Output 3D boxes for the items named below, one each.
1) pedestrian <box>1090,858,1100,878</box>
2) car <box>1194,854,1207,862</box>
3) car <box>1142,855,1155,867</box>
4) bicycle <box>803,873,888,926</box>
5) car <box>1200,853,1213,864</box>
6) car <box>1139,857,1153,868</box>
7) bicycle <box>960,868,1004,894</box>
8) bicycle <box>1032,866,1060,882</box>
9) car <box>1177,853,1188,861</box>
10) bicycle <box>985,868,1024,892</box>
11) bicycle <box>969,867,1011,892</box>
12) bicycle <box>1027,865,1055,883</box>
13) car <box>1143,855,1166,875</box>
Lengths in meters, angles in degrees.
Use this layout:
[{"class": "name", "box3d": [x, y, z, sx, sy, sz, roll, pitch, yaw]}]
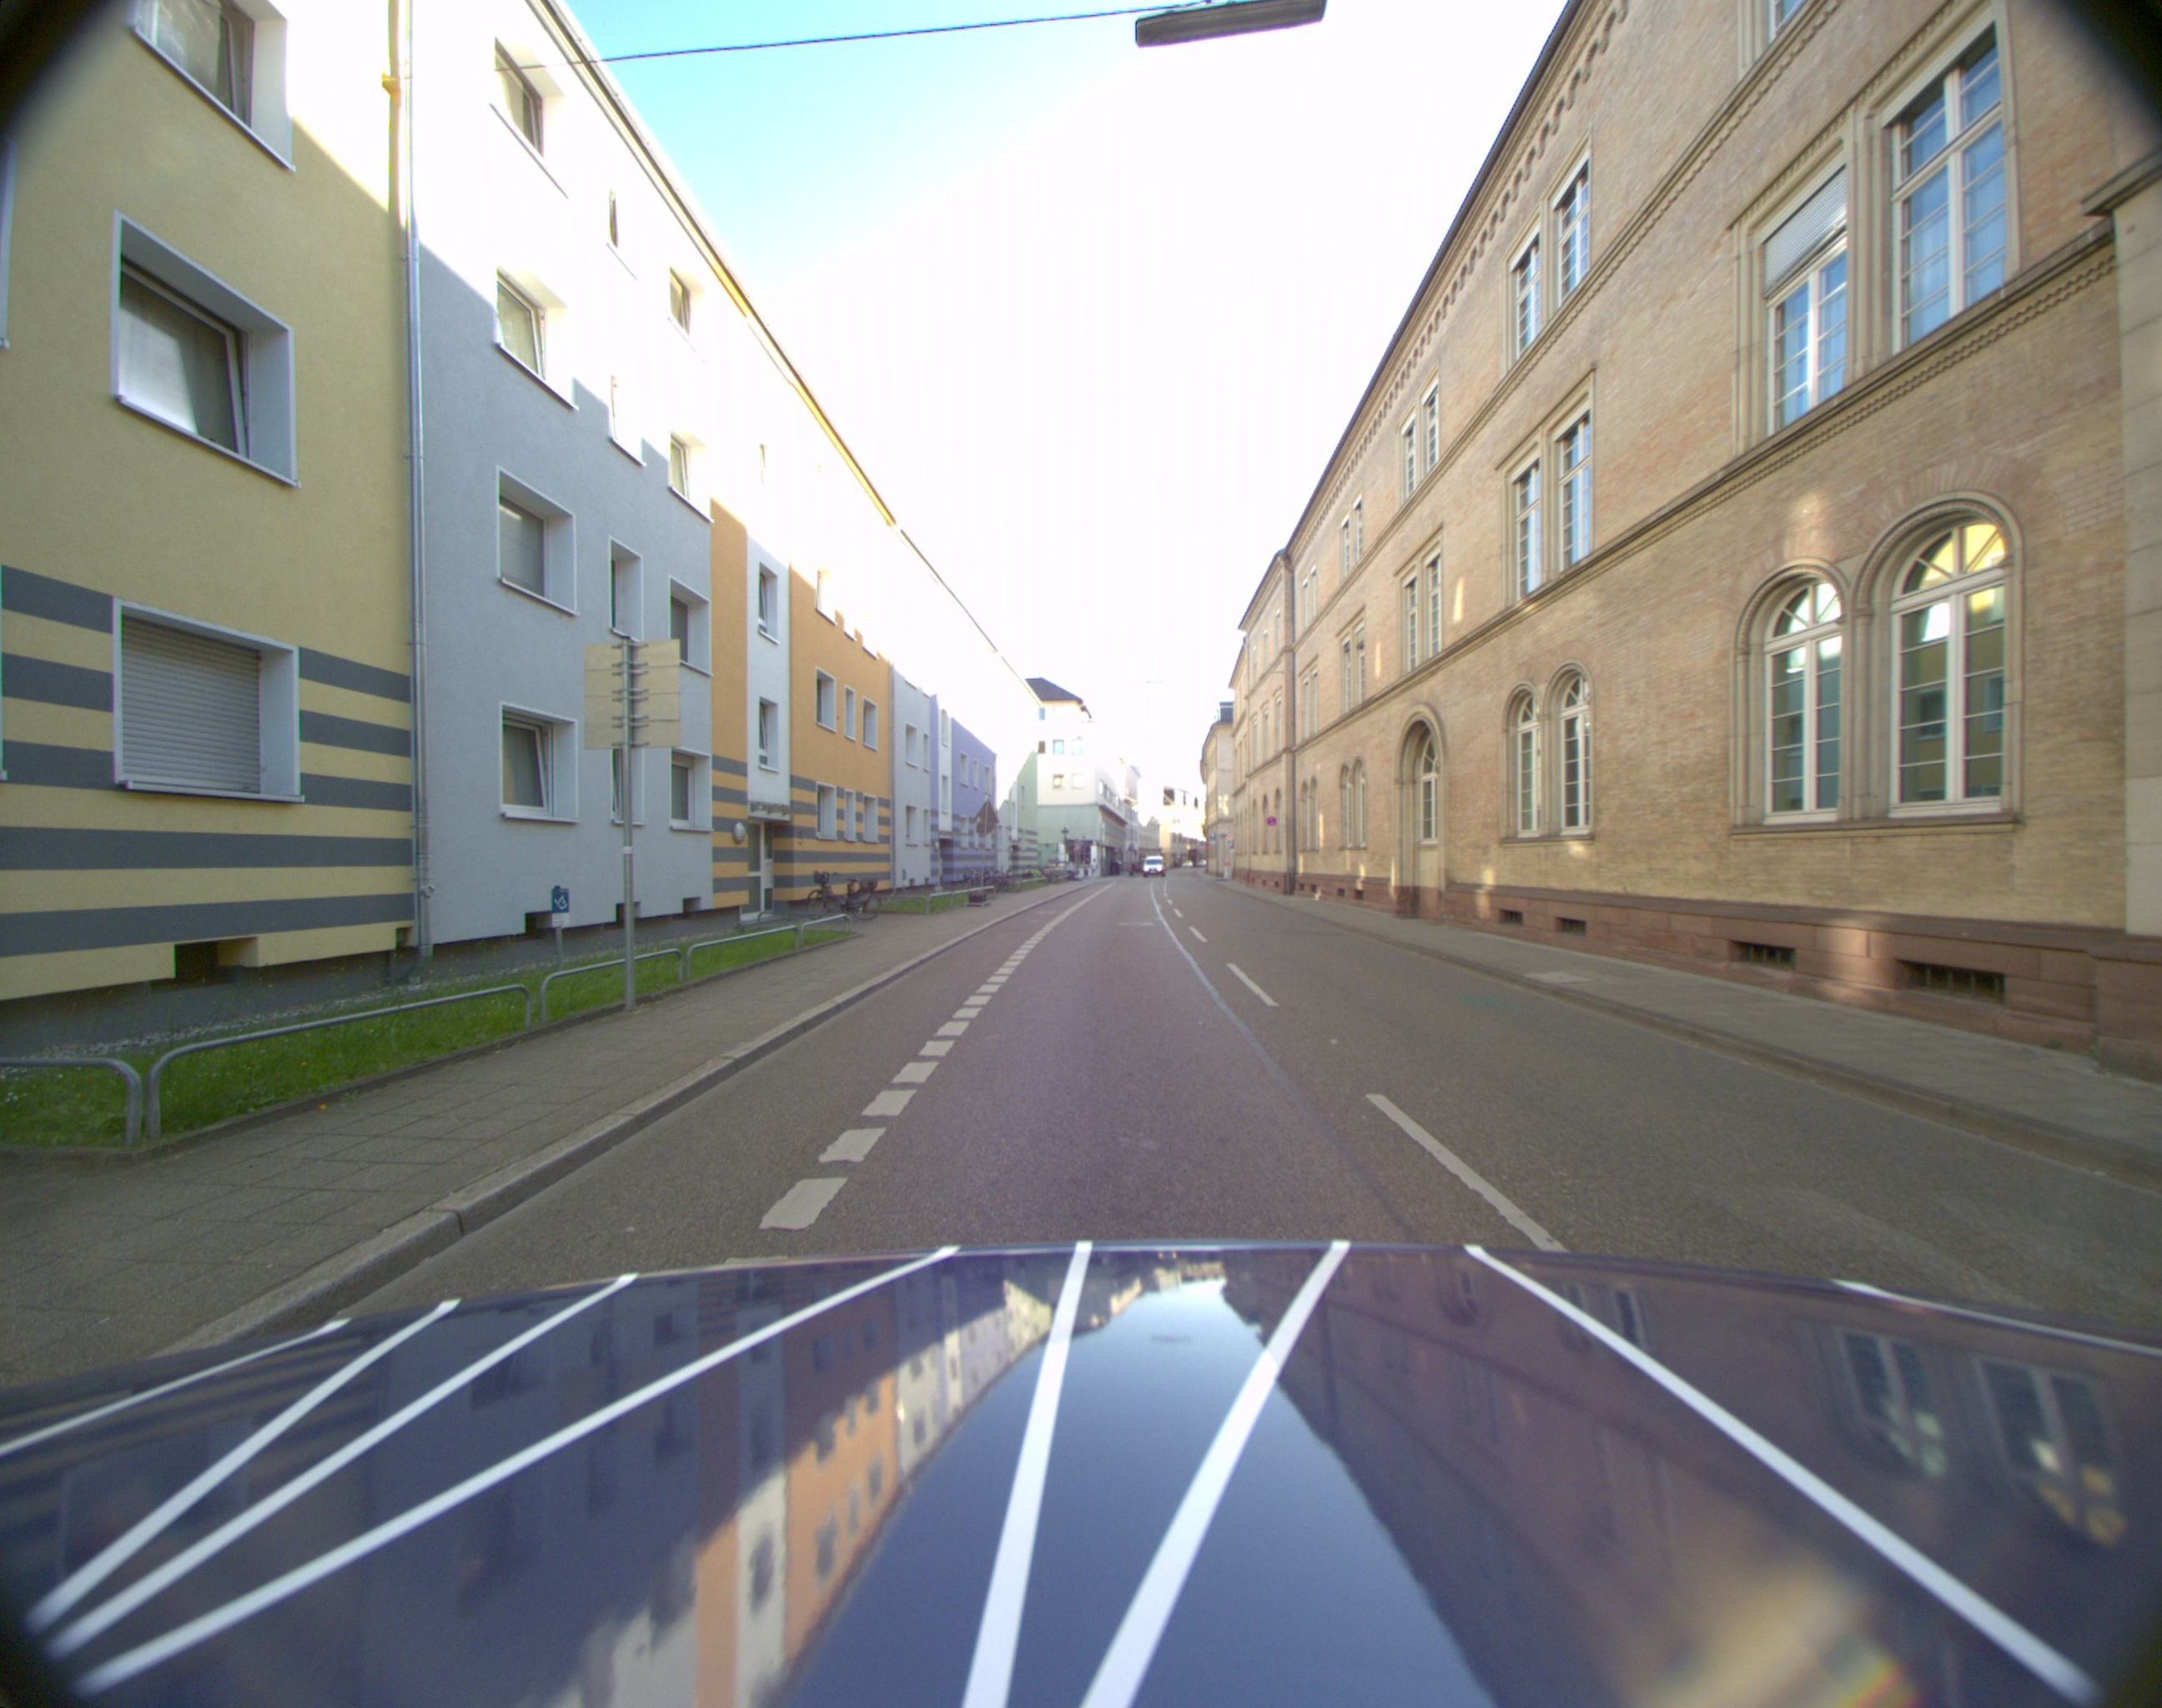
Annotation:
[{"class": "pedestrian", "box3d": [1.073, 1.079, 59.644, 0.708, 1.510, 0.661, -1, 0, -2]}, {"class": "car", "box3d": [25.778, 0.769, 163.671, 1.925, 1.714, 4.236, 0, 0, 19]}, {"class": "car", "box3d": [9.465, 0.971, 106.047, 1.535, 1.714, 3.741, 0, 0, 8]}, {"class": "bicycle", "box3d": [-5.291, 1.017, 17.106, 1.711, 1.152, 0.636, 1, 0, -2]}, {"class": "car", "box3d": [19.903, 0.774, 120.173, 1.662, 1.714, 3.743, 0, 0, 14]}, {"class": "car", "box3d": [8.639, 1.084, 100.772, 1.634, 1.405, 3.687, 0, 0, 8]}, {"class": "bicycle", "box3d": [-4.152, 1.119, 31.859, 1.710, 1.039, 0.636, 1, 0, 2]}, {"class": "bicycle", "box3d": [-2.173, 1.268, 47.581, 1.711, 0.972, 0.516, 1, 0, -2]}, {"class": "car", "box3d": [19.947, 0.583, 149.649, 1.534, 1.714, 3.743, 0, 0, 16]}, {"class": "bicycle", "box3d": [-3.391, 1.144, 33.762, 1.711, 1.029, 0.636, 1, 0, -2]}, {"class": "bicycle", "box3d": [-3.951, 1.108, 33.001, 1.710, 1.075, 0.636, 1, 0, 1]}, {"class": "bicycle", "box3d": [-2.421, 1.216, 46.121, 1.711, 1.097, 0.584, 1, 0, -2]}, {"class": "car", "box3d": [6.441, 0.927, 66.457, 1.922, 1.712, 4.962, 0, 0, 6]}]
